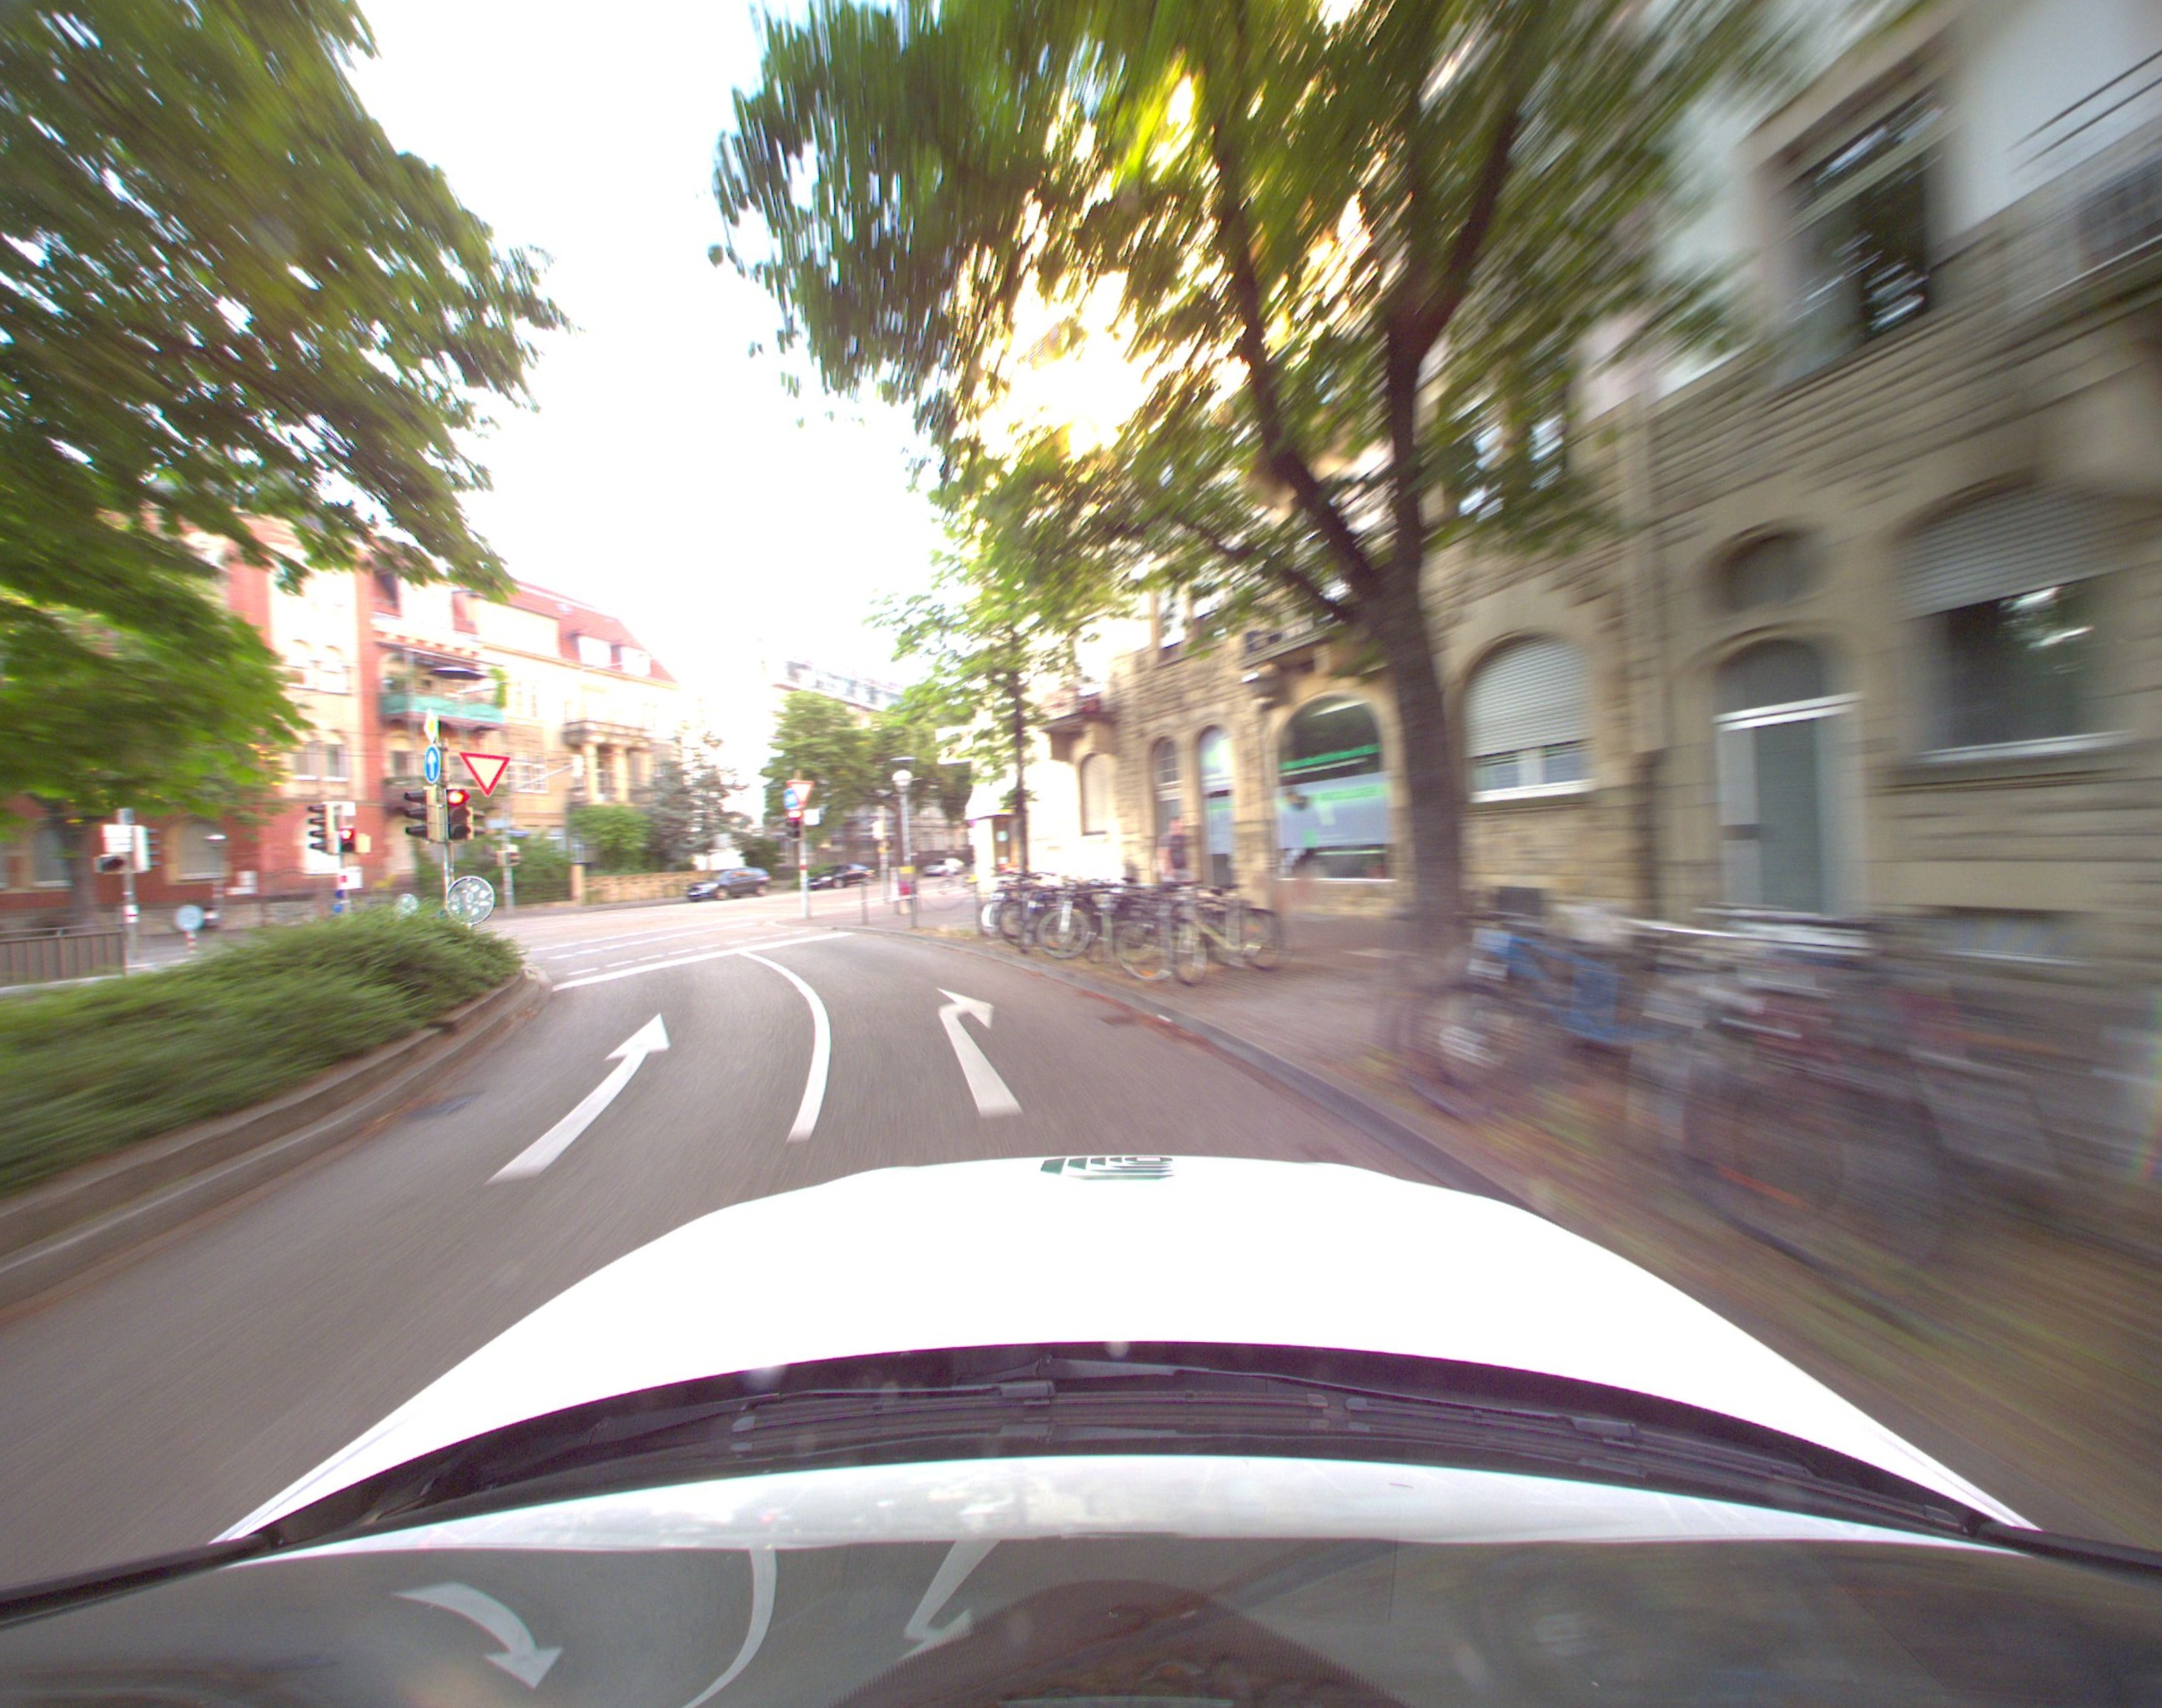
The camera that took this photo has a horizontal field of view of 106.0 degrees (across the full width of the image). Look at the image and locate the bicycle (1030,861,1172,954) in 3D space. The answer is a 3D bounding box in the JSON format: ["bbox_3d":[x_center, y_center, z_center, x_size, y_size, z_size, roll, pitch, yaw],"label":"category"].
[{"bbox_3d":[0.294,0.741,11.793,1.893,1.162,0.699,-3,0,-23],"label":"bicycle"}]

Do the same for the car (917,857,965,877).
[{"bbox_3d":[-11.691,1.063,68.434,1.988,1.426,4.653,-3,0,17],"label":"car"}]

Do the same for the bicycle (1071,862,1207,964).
[{"bbox_3d":[0.753,0.734,10.509,1.673,1.127,0.484,-3,6,-16],"label":"bicycle"}]

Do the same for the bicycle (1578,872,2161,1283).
[{"bbox_3d":[2.820,0.700,2.755,1.847,1.092,0.418,-3,-19,-6],"label":"bicycle"}]

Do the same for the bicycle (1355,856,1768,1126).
[{"bbox_3d":[2.531,0.694,4.377,1.877,1.217,0.491,-3,-6,-6],"label":"bicycle"}]

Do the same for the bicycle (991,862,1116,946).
[{"bbox_3d":[-0.428,0.775,13.102,1.899,1.162,0.634,-3,0,-33],"label":"bicycle"}]

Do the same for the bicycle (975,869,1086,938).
[{"bbox_3d":[-0.878,0.839,14.366,1.814,1.038,0.692,-3,0,-33],"label":"bicycle"}]

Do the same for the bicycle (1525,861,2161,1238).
[{"bbox_3d":[2.782,0.684,3.033,1.847,1.130,0.418,-3,-19,-6],"label":"bicycle"}]

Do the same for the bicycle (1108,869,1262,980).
[{"bbox_3d":[1.191,0.762,9.232,1.678,1.078,0.482,-3,0,-24],"label":"bicycle"}]

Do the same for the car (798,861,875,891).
[{"bbox_3d":[-14.539,1.291,48.712,1.927,1.510,4.657,-3,0,21],"label":"car"}]

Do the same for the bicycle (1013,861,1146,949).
[{"bbox_3d":[-0.013,0.753,12.484,1.893,1.162,0.636,-3,0,-23],"label":"bicycle"}]

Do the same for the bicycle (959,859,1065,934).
[{"bbox_3d":[-1.271,0.759,15.133,1.800,1.236,0.692,-3,0,-33],"label":"bicycle"}]

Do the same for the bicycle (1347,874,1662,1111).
[{"bbox_3d":[2.512,0.743,4.813,1.885,1.139,0.489,-2,4,-20],"label":"bicycle"}]

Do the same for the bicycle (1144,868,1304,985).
[{"bbox_3d":[1.559,0.747,8.836,1.678,1.078,0.482,-3,0,-24],"label":"bicycle"}]

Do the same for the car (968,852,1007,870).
[{"bbox_3d":[-8.935,0.676,78.184,1.927,1.482,4.190,-3,0,21],"label":"car"}]

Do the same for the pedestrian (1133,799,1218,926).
[{"bbox_3d":[1.639,0.129,14.302,1.014,2.085,1.053,-4,1,-20],"label":"pedestrian"}]

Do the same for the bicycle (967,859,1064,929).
[{"bbox_3d":[-1.290,0.771,16.310,1.800,1.236,0.644,-3,0,-35],"label":"bicycle"}]

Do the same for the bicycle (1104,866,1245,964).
[{"bbox_3d":[1.187,0.742,10.332,1.674,1.078,0.483,-3,0,-17],"label":"bicycle"}]

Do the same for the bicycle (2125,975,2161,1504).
[{"bbox_3d":[3.066,0.722,1.535,1.847,1.051,0.418,-3,0,-6],"label":"bicycle"}]

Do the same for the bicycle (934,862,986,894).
[{"bbox_3d":[-4.724,0.926,31.783,1.877,1.130,0.727,-3,0,-19],"label":"bicycle"}]

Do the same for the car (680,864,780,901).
[{"bbox_3d":[-17.356,1.380,40.502,1.927,1.510,4.443,-3,0,21],"label":"car"}]

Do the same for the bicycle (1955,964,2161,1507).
[{"bbox_3d":[3.034,0.749,1.824,1.847,0.999,0.418,-3,0,-6],"label":"bicycle"}]

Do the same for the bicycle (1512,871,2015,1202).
[{"bbox_3d":[2.829,0.702,3.413,1.847,1.144,0.418,-3,0,-6],"label":"bicycle"}]

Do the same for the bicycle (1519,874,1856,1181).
[{"bbox_3d":[2.991,0.710,3.956,1.861,1.104,0.568,-3,0,-29],"label":"bicycle"}]
